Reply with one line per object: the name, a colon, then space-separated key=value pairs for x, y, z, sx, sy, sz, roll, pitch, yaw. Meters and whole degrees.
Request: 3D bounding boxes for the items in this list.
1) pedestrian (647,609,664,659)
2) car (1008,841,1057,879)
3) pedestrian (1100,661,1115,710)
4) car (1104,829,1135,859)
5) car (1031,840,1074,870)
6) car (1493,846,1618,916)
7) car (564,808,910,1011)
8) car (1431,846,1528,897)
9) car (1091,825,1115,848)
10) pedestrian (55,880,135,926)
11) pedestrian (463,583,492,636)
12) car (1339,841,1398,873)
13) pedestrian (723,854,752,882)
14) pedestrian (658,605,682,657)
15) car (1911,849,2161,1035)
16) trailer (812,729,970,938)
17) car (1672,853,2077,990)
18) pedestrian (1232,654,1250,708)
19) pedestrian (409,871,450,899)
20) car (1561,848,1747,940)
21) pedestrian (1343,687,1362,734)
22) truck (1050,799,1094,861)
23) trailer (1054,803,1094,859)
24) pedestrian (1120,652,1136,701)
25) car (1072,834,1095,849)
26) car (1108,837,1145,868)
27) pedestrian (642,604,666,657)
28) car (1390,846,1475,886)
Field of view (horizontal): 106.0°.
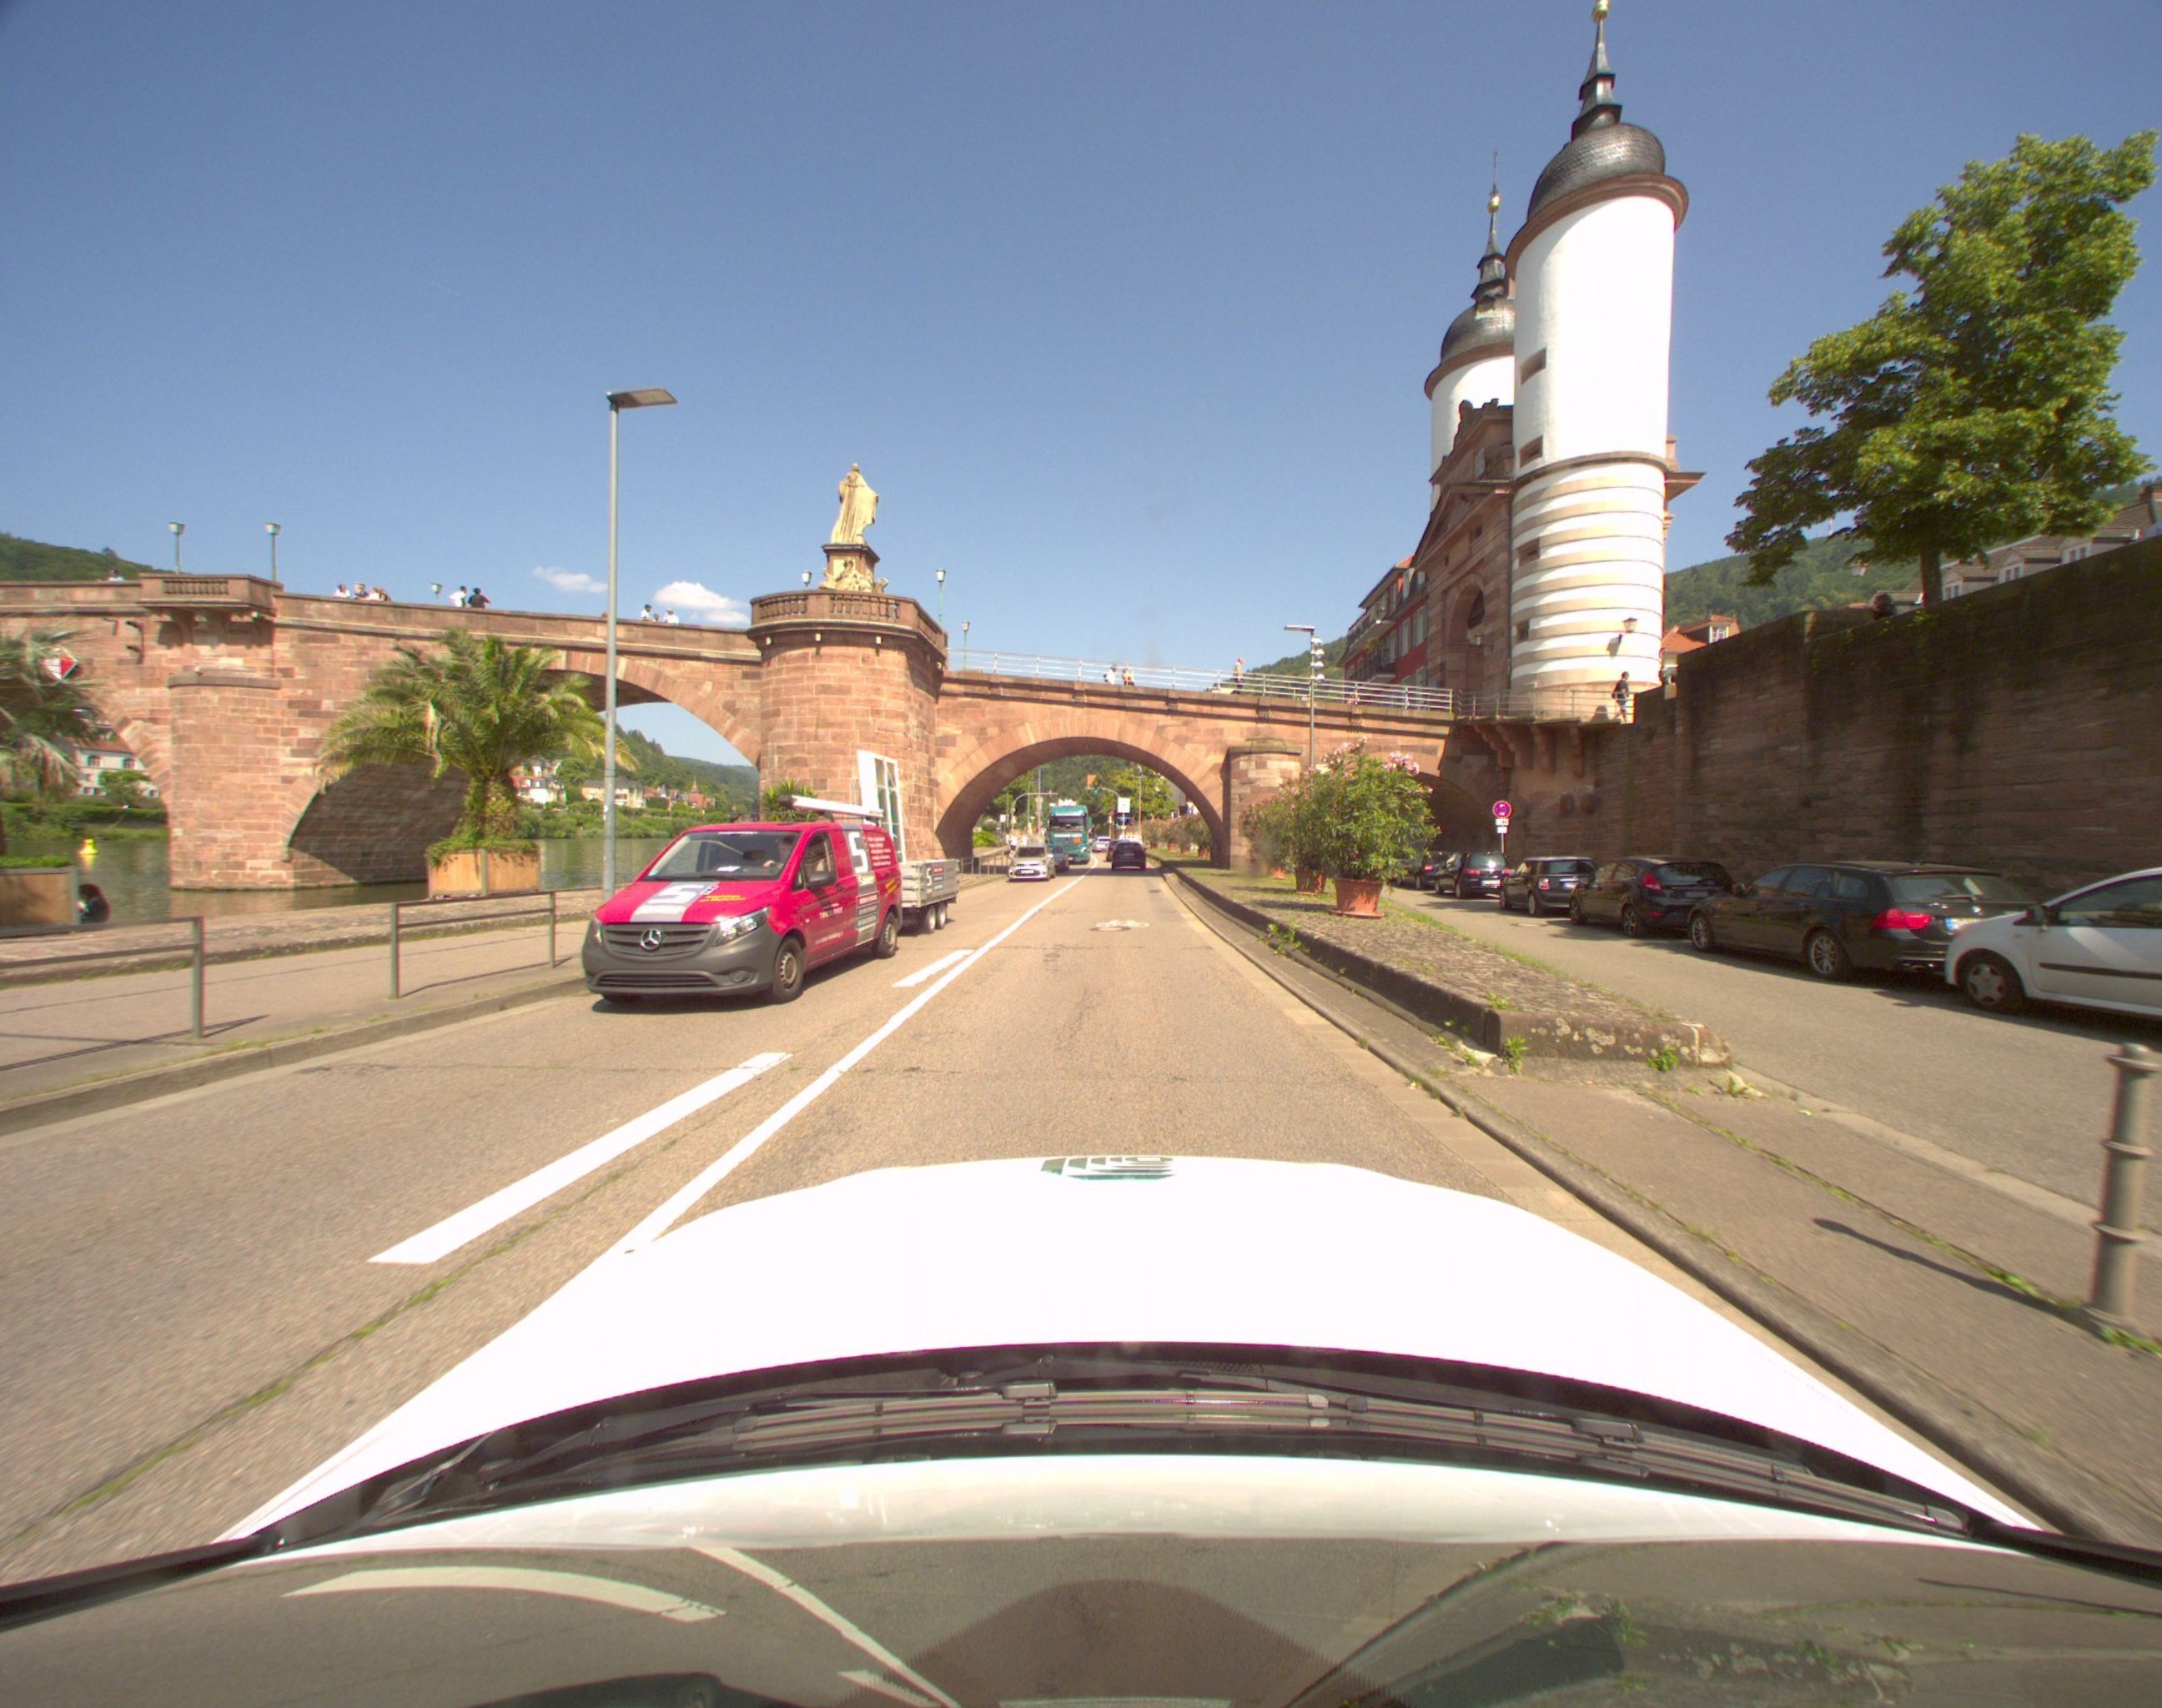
pedestrian: x=-18.137 y=-9.365 z=34.708 sx=0.457 sy=2.013 sz=0.553 roll=-1 pitch=0 yaw=-4
car: x=-1.958 y=0.205 z=33.609 sx=1.528 sy=1.436 sz=3.732 roll=-1 pitch=1 yaw=4
pedestrian: x=1.149 y=-7.285 z=35.297 sx=0.579 sy=2.013 sz=0.587 roll=0 pitch=0 yaw=3
car: x=2.604 y=-0.686 z=55.858 sx=1.986 sy=2.013 sz=4.001 roll=-1 pitch=0 yaw=1
car: x=-1.422 y=0.035 z=42.467 sx=1.715 sy=1.436 sz=4.406 roll=-1 pitch=1 yaw=4
car: x=11.581 y=0.578 z=20.131 sx=1.580 sy=1.520 sz=3.917 roll=0 pitch=1 yaw=13
car: x=-3.638 y=0.475 z=9.728 sx=1.866 sy=1.827 sz=4.550 roll=-1 pitch=1 yaw=4
car: x=12.808 y=0.510 z=26.445 sx=1.765 sy=1.502 sz=3.997 roll=-1 pitch=1 yaw=10
car: x=2.021 y=-1.593 z=75.898 sx=1.988 sy=2.013 sz=3.998 roll=-1 pitch=0 yaw=-1
pedestrian: x=-17.181 y=0.844 z=14.207 sx=0.692 sy=0.742 sz=0.605 roll=0 pitch=1 yaw=8
pedestrian: x=-24.967 y=-10.109 z=33.697 sx=0.691 sy=2.013 sz=0.625 roll=-1 pitch=0 yaw=0
car: x=14.500 y=0.115 z=41.350 sx=1.883 sy=1.492 sz=4.425 roll=-1 pitch=1 yaw=6
pedestrian: x=-15.400 y=0.624 z=36.567 sx=0.722 sy=1.241 sz=1.148 roll=0 pitch=0 yaw=7
pedestrian: x=-17.201 y=-9.320 z=34.097 sx=0.622 sy=2.013 sz=0.694 roll=-1 pitch=0 yaw=-4
car: x=9.312 y=0.690 z=6.611 sx=1.703 sy=1.457 sz=3.552 roll=0 pitch=0 yaw=4
trailer: x=-3.303 y=-0.346 z=14.843 sx=1.733 sy=3.320 sz=3.389 roll=-2 pitch=0 yaw=5
car: x=9.858 y=0.709 z=10.712 sx=1.699 sy=1.388 sz=4.422 roll=-1 pitch=0 yaw=12
pedestrian: x=6.344 y=-6.858 z=32.341 sx=0.621 sy=2.013 sz=0.696 roll=0 pitch=0 yaw=4
pedestrian: x=-14.533 y=0.691 z=18.169 sx=0.460 sy=0.564 sz=0.516 roll=-4 pitch=0 yaw=13
car: x=10.632 y=0.651 z=15.431 sx=1.485 sy=1.484 sz=3.727 roll=0 pitch=1 yaw=11
pedestrian: x=12.361 y=-6.524 z=37.121 sx=0.681 sy=2.013 sz=0.587 roll=0 pitch=0 yaw=3
truck: x=-0.523 y=-1.570 z=53.284 sx=2.514 sy=3.748 sz=6.250 roll=-2 pitch=2 yaw=2
trailer: x=-0.388 y=-1.688 z=59.317 sx=2.515 sy=3.643 sz=11.535 roll=-1 pitch=2 yaw=1
pedestrian: x=2.052 y=-7.787 z=35.674 sx=0.681 sy=2.013 sz=0.587 roll=0 pitch=0 yaw=3
car: x=0.260 y=-1.377 z=93.497 sx=1.993 sy=1.662 sz=3.988 roll=0 pitch=0 yaw=-9
car: x=2.368 y=-0.101 z=42.623 sx=1.849 sy=1.523 sz=4.003 roll=0 pitch=0 yaw=3
pedestrian: x=-17.811 y=-9.313 z=33.957 sx=0.622 sy=2.013 sz=0.694 roll=-1 pitch=0 yaw=-4
car: x=13.531 y=0.409 z=31.637 sx=1.766 sy=1.436 sz=4.500 roll=0 pitch=1 yaw=6
